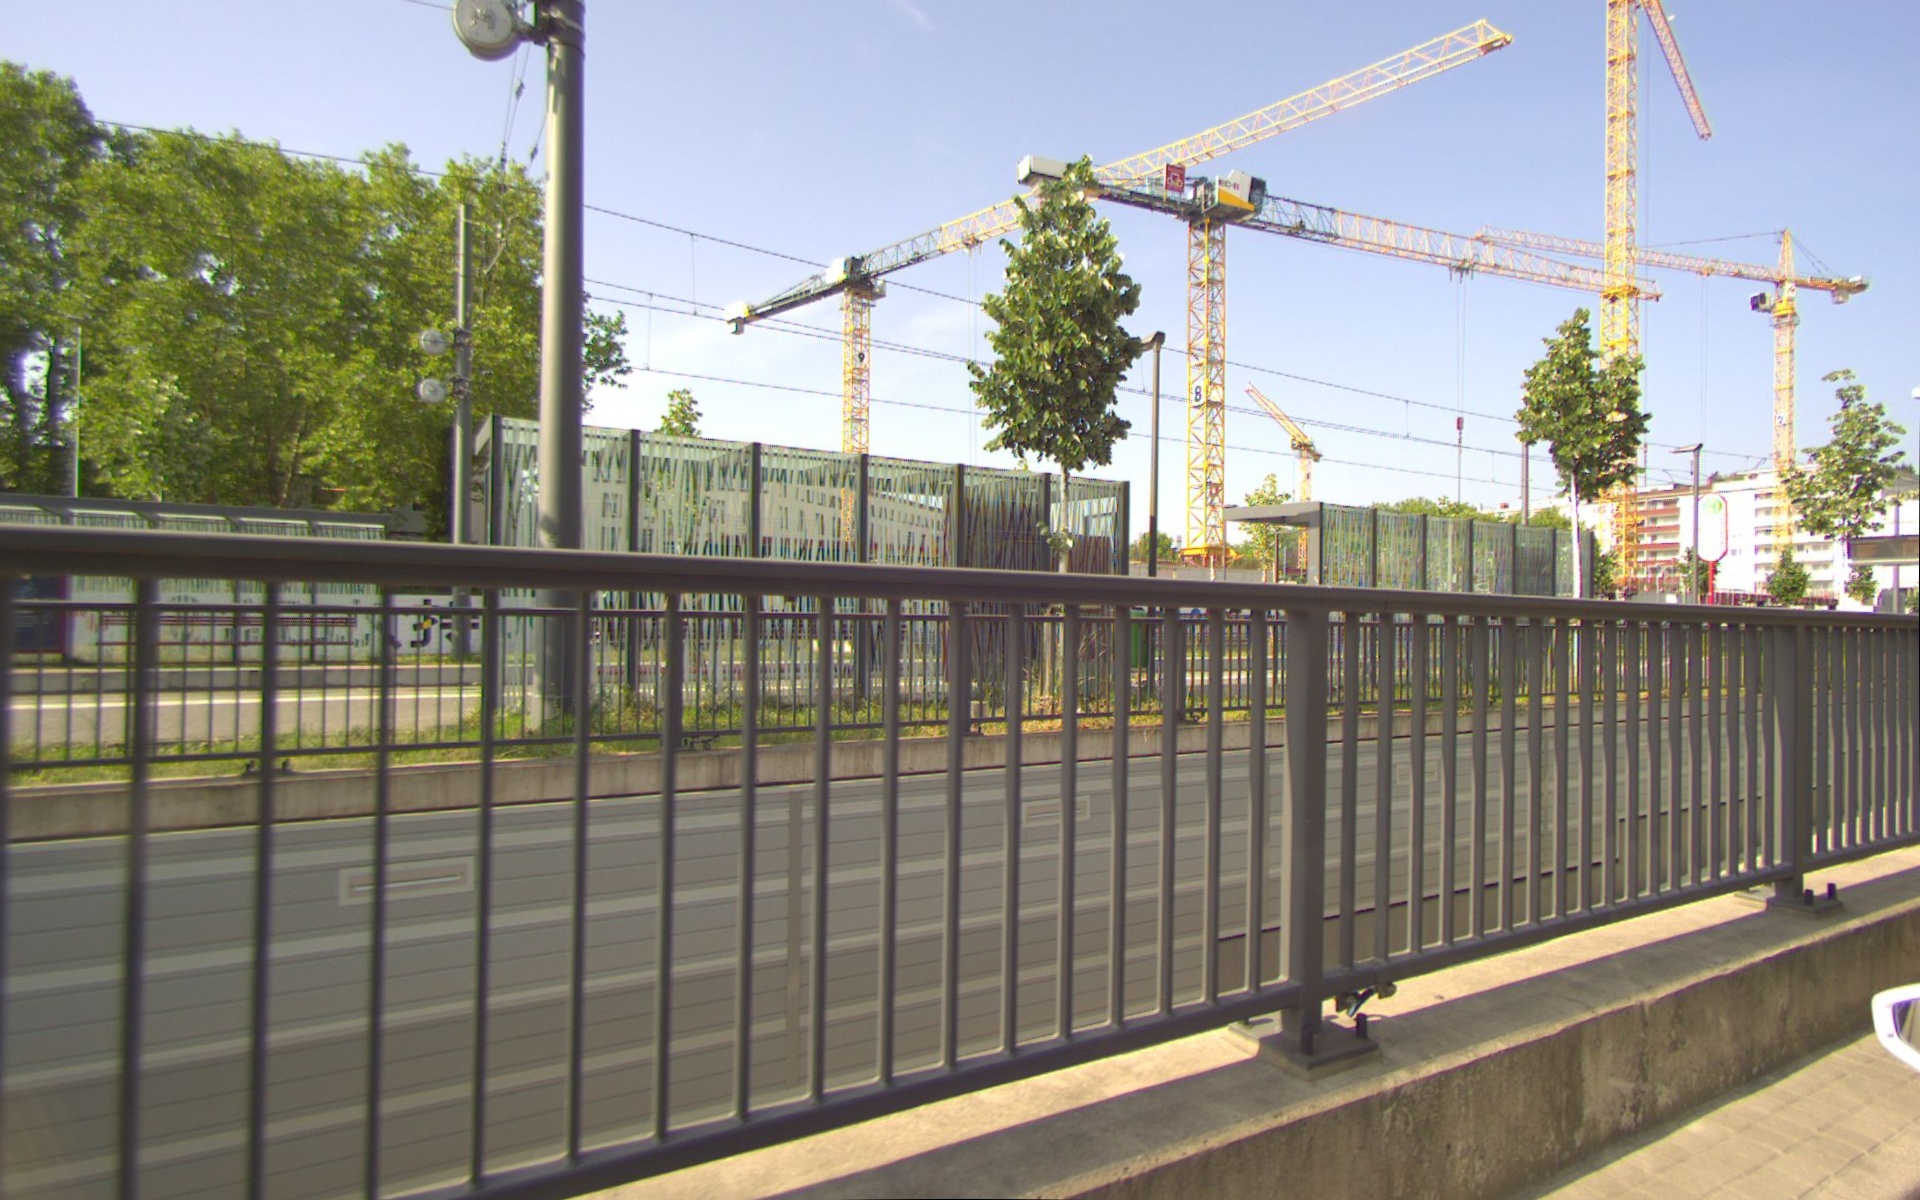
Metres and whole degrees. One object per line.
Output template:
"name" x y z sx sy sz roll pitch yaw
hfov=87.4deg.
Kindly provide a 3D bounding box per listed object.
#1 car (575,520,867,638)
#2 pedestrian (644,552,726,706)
"car" -7.927 -0.563 33.941 9.127 3.559 3.039 1 0 -31
"pedestrian" -3.073 0.313 11.199 0.702 1.640 0.732 1 -1 -30
